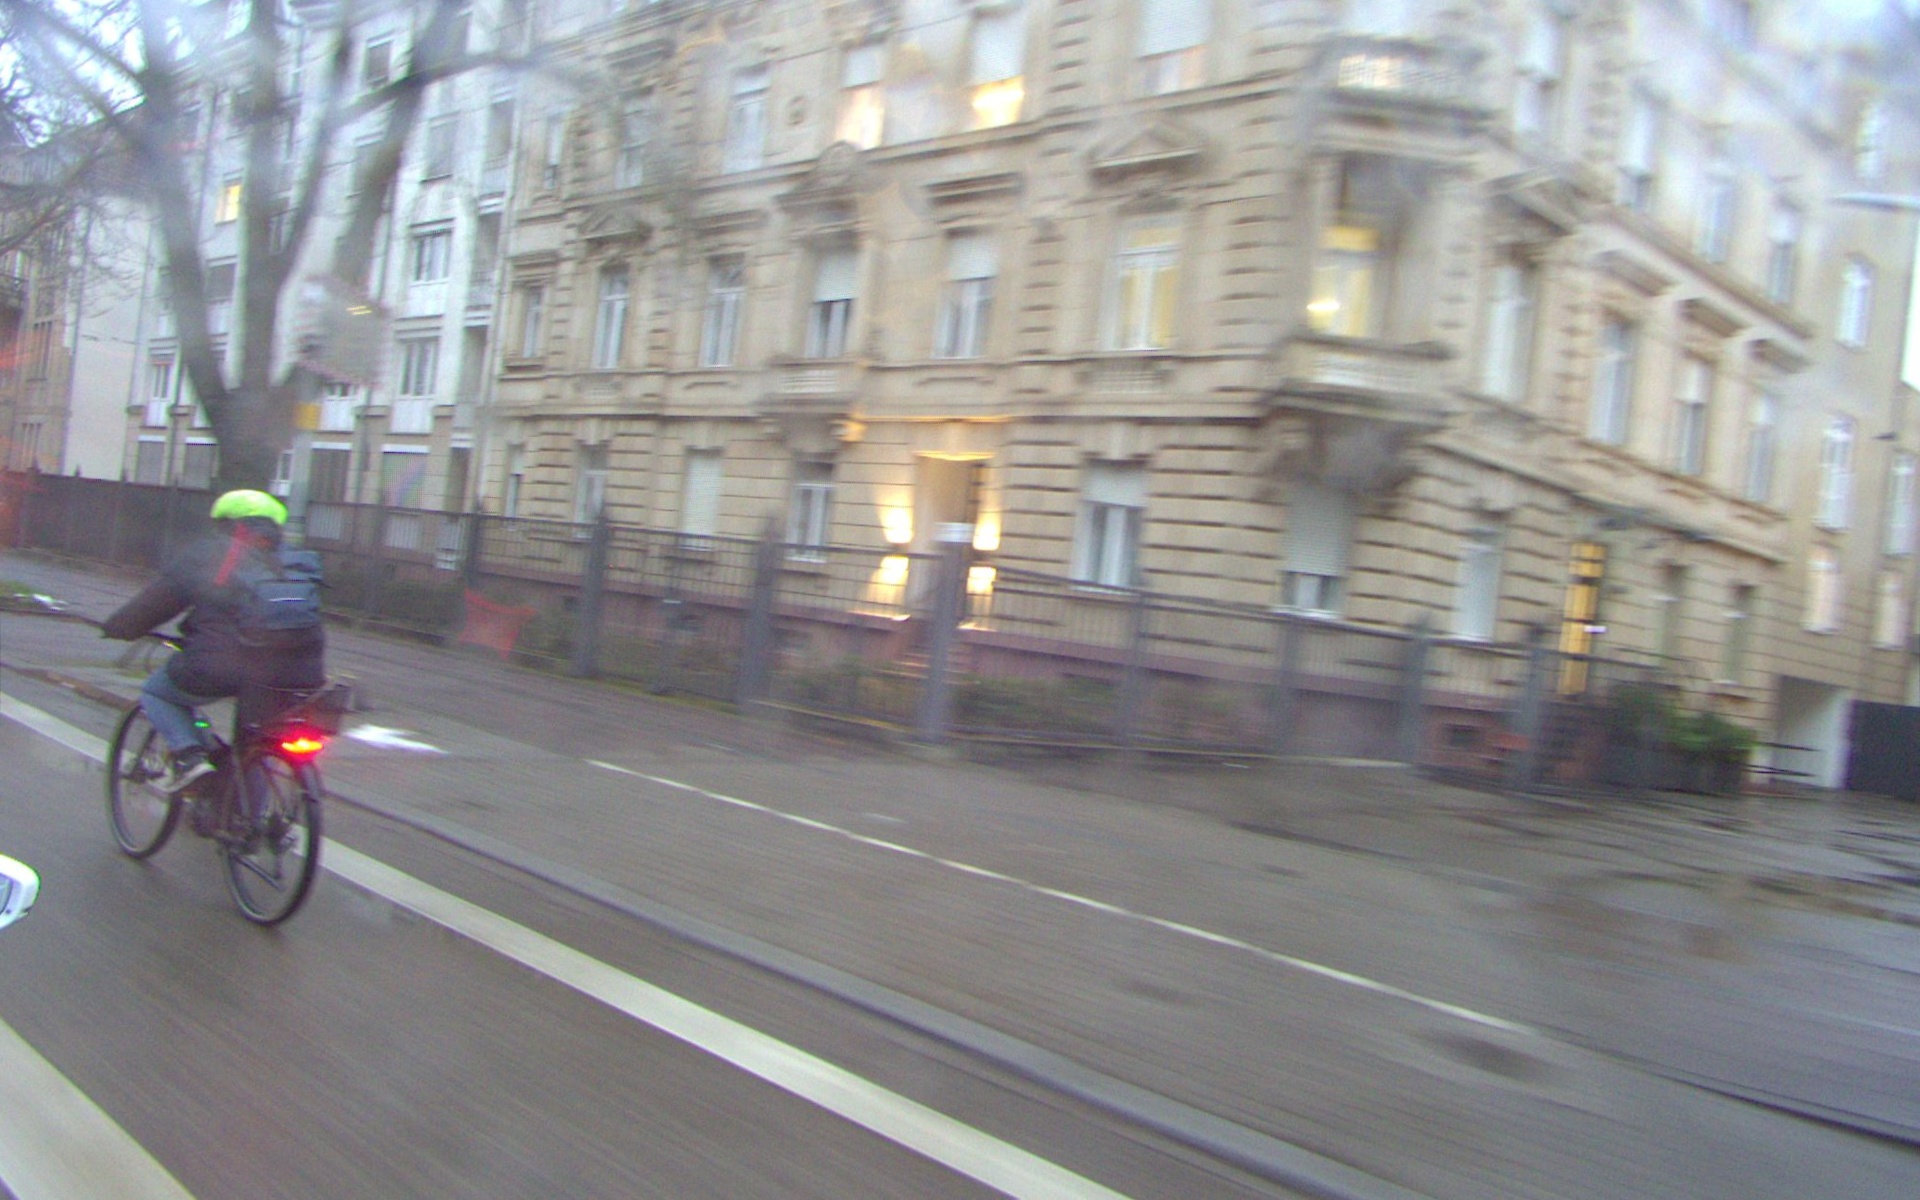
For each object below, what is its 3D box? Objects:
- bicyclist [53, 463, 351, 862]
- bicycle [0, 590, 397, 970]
[{"bbox_3d":[-3.184,0.228,4.230,0.836,1.464,0.656,8,1,34],"label":"bicyclist"},{"bbox_3d":[-3.325,0.638,4.307,1.997,1.110,0.707,8,1,35],"label":"bicycle"}]
